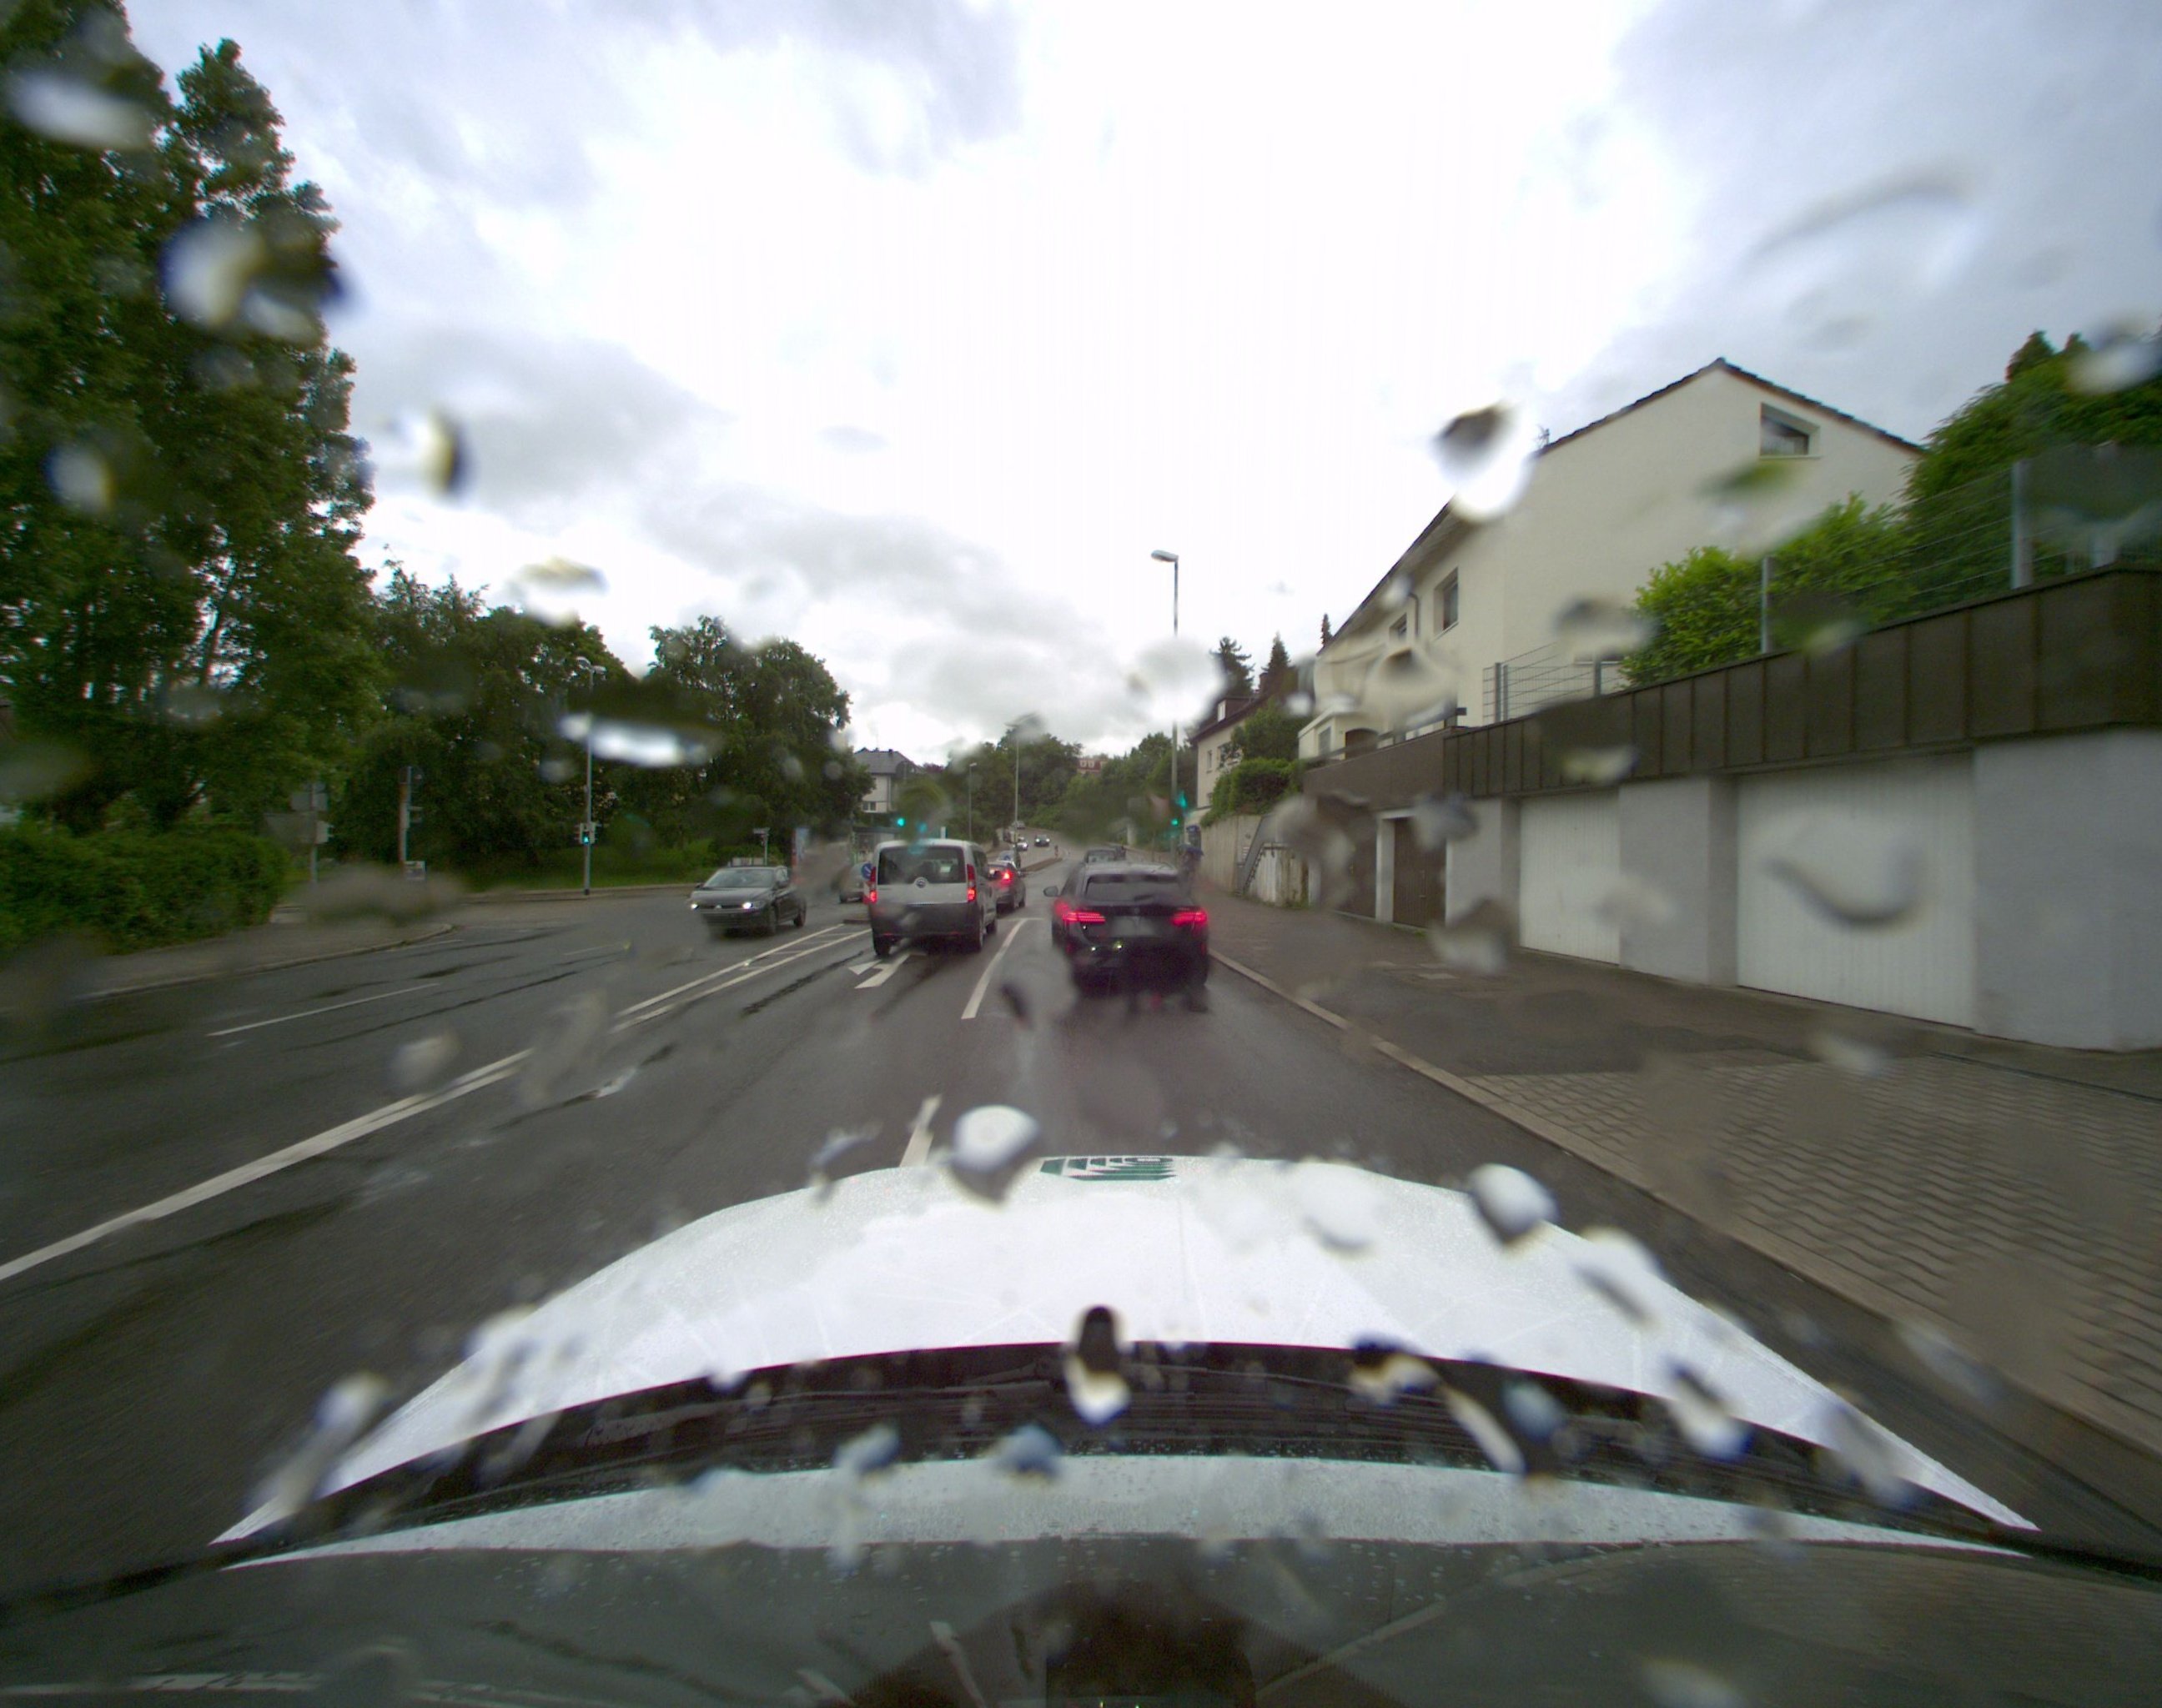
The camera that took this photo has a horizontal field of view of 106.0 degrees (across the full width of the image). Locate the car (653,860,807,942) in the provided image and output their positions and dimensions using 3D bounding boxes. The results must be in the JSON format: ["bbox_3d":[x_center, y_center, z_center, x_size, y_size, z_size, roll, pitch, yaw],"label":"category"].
[{"bbox_3d":[-7.257,0.892,17.276,1.708,1.503,3.995,-1,0,-3],"label":"car"}]

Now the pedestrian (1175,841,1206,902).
[{"bbox_3d":[3.319,0.533,24.772,0.791,1.780,1.012,-2,-1,1],"label":"pedestrian"}]

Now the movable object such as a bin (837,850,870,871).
[{"bbox_3d":[-18.135,0.530,64.926,2.047,1.568,1.584,-1,2,6],"label":"movable object such as a bin"}]

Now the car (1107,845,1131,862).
[{"bbox_3d":[3.734,-0.067,80.551,1.849,1.661,3.992,0,1,-6],"label":"car"}]

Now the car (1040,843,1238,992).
[{"bbox_3d":[0.520,0.738,11.111,1.990,1.586,4.654,0,-1,-5],"label":"car"}]

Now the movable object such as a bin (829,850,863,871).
[{"bbox_3d":[-18.284,0.507,63.330,2.047,1.568,1.584,-1,2,6],"label":"movable object such as a bin"}]

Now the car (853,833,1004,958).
[{"bbox_3d":[-2.561,0.642,14.832,1.946,1.871,4.743,-1,0,-2],"label":"car"}]

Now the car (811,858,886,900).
[{"bbox_3d":[-8.677,0.892,30.713,1.849,1.464,3.995,0,0,-3],"label":"car"}]

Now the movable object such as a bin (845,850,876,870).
[{"bbox_3d":[-17.979,0.489,66.392,2.047,1.514,1.346,-1,2,6],"label":"movable object such as a bin"}]

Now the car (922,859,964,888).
[{"bbox_3d":[-7.934,1.094,47.281,1.832,1.556,4.764,-1,-1,-3],"label":"car"}]

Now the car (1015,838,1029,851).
[{"bbox_3d":[-7.752,-1.233,107.563,1.819,1.657,4.461,-1,0,-3],"label":"car"}]

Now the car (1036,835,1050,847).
[{"bbox_3d":[-5.395,-1.768,114.995,1.838,1.552,4.375,-1,0,-6],"label":"car"}]

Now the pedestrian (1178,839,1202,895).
[{"bbox_3d":[4.011,0.479,29.929,0.794,2.014,0.734,0,-1,1],"label":"pedestrian"}]

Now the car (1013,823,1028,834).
[{"bbox_3d":[-11.928,-4.995,159.621,2.000,2.013,3.974,-1,0,-19],"label":"car"}]

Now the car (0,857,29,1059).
[{"bbox_3d":[-9.637,0.836,4.528,1.802,1.669,4.590,-1,-1,-5],"label":"car"}]

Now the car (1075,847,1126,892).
[{"bbox_3d":[0.761,0.607,34.438,1.988,1.748,3.998,-1,0,-1],"label":"car"}]

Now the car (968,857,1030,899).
[{"bbox_3d":[-3.165,0.911,32.420,1.901,1.528,4.652,-1,0,1],"label":"car"}]

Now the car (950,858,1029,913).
[{"bbox_3d":[-2.643,0.878,24.450,1.828,1.487,4.059,-1,0,1],"label":"car"}]
